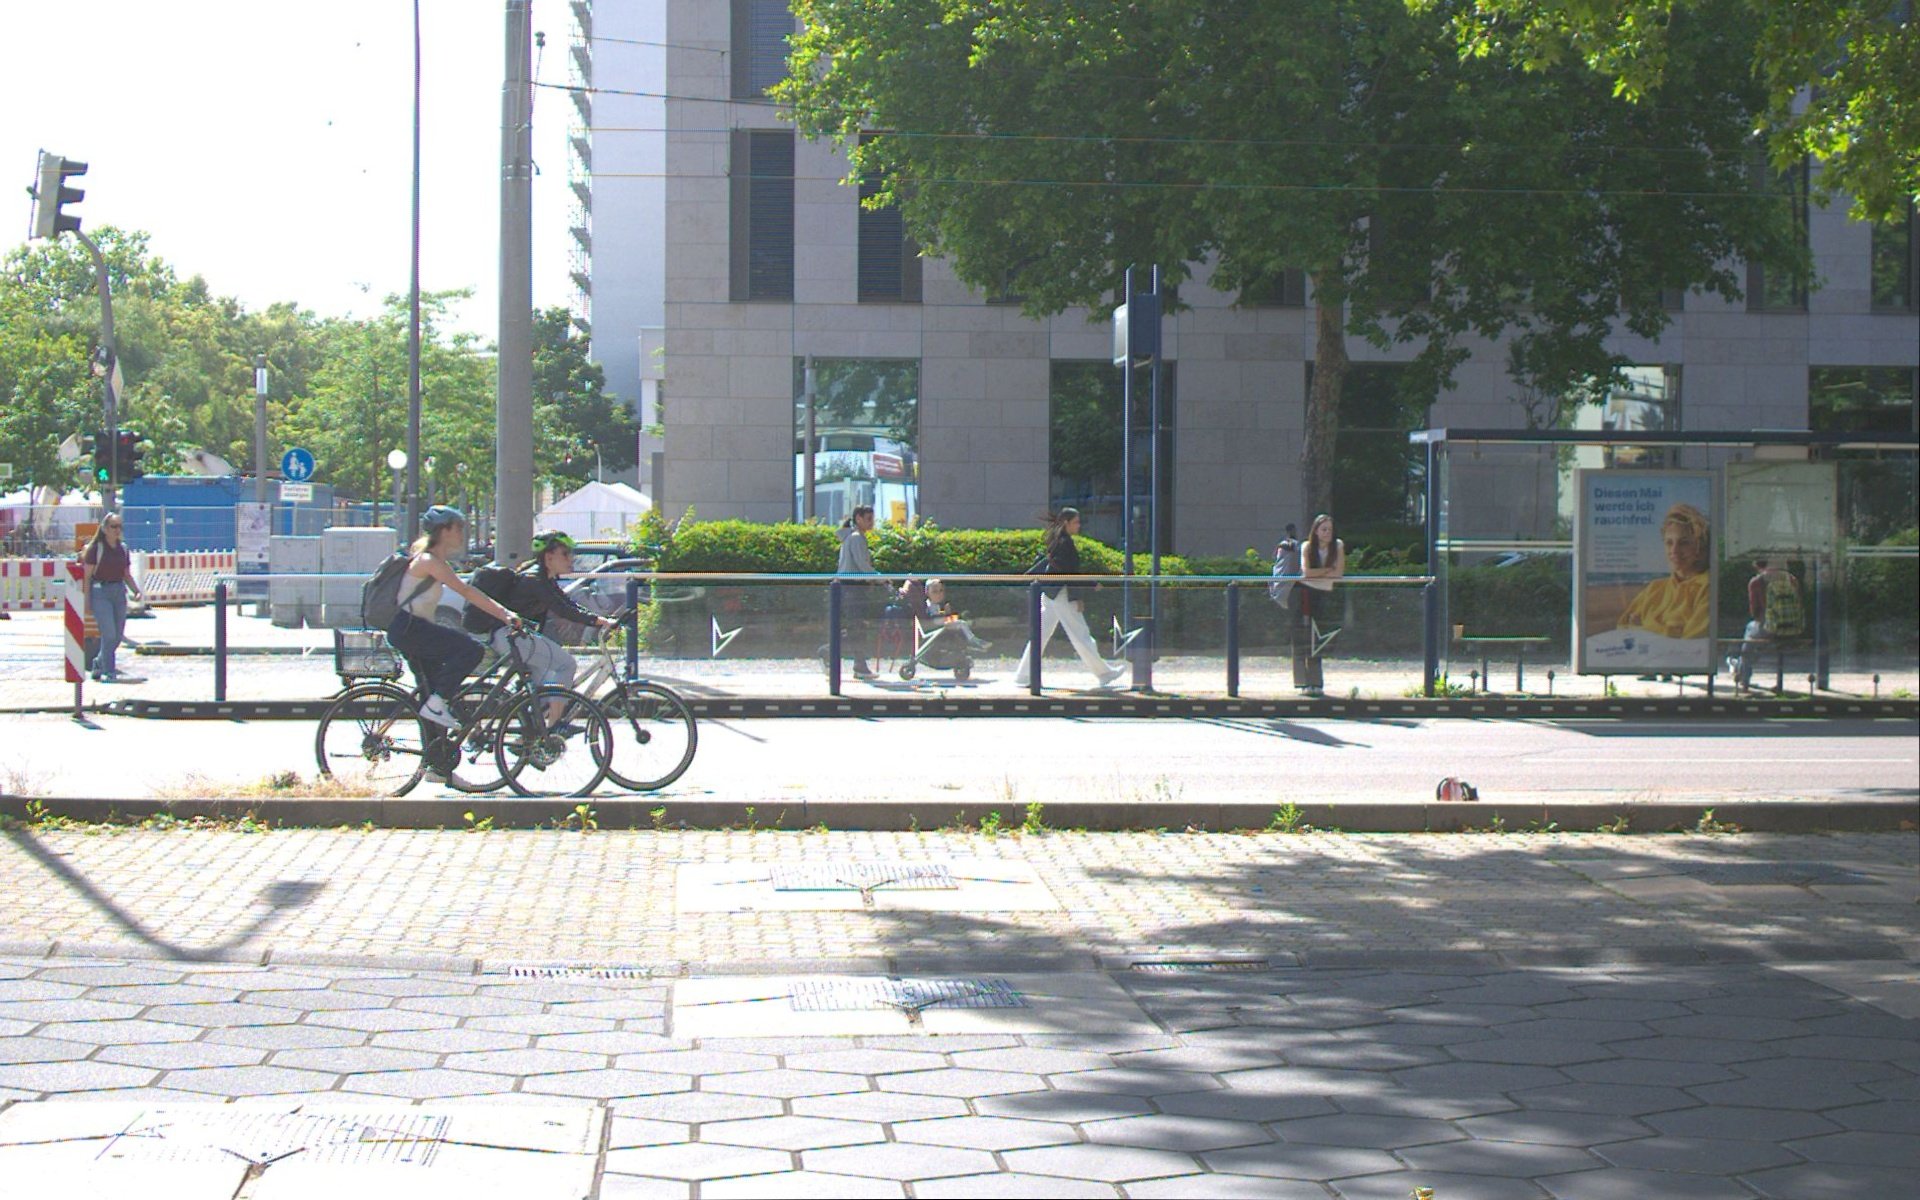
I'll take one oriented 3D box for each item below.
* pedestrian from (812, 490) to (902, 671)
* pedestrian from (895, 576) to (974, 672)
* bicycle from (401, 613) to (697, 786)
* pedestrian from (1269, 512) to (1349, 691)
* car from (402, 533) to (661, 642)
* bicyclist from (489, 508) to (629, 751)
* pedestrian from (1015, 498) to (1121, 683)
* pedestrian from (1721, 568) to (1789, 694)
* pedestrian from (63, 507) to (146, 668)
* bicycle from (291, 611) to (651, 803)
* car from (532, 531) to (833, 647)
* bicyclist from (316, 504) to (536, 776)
[{"bbox_3d":[-0.966,-0.185,32.212,0.777,1.677,0.503,1,1,5],"label":"pedestrian"},{"bbox_3d":[-0.237,0.218,32.149,0.690,0.877,0.503,1,1,5],"label":"pedestrian"},{"bbox_3d":[-2.637,0.638,22.135,1.861,1.078,0.525,1,1,-5],"label":"bicycle"},{"bbox_3d":[3.154,0.007,31.109,0.584,1.586,0.670,0,3,-5],"label":"pedestrian"},{"bbox_3d":[-6.287,-0.194,50.306,3.681,1.546,1.592,0,1,-9],"label":"car"},{"bbox_3d":[-2.582,0.186,22.185,0.862,1.538,0.535,1,1,-5],"label":"bicyclist"},{"bbox_3d":[0.992,-0.091,31.548,0.932,1.677,0.503,1,1,5],"label":"pedestrian"},{"bbox_3d":[7.295,0.283,31.552,0.499,1.134,0.524,1,1,2],"label":"pedestrian"},{"bbox_3d":[-8.255,-0.123,33.183,0.650,1.535,0.503,1,1,5],"label":"pedestrian"},{"bbox_3d":[-2.892,0.625,20.403,2.020,1.078,0.640,1,1,4],"label":"bicycle"},{"bbox_3d":[-3.838,-0.159,47.282,3.986,1.546,1.704,0,1,-9],"label":"car"},{"bbox_3d":[-3.162,0.228,20.416,1.169,1.575,0.640,1,1,4],"label":"bicyclist"}]
